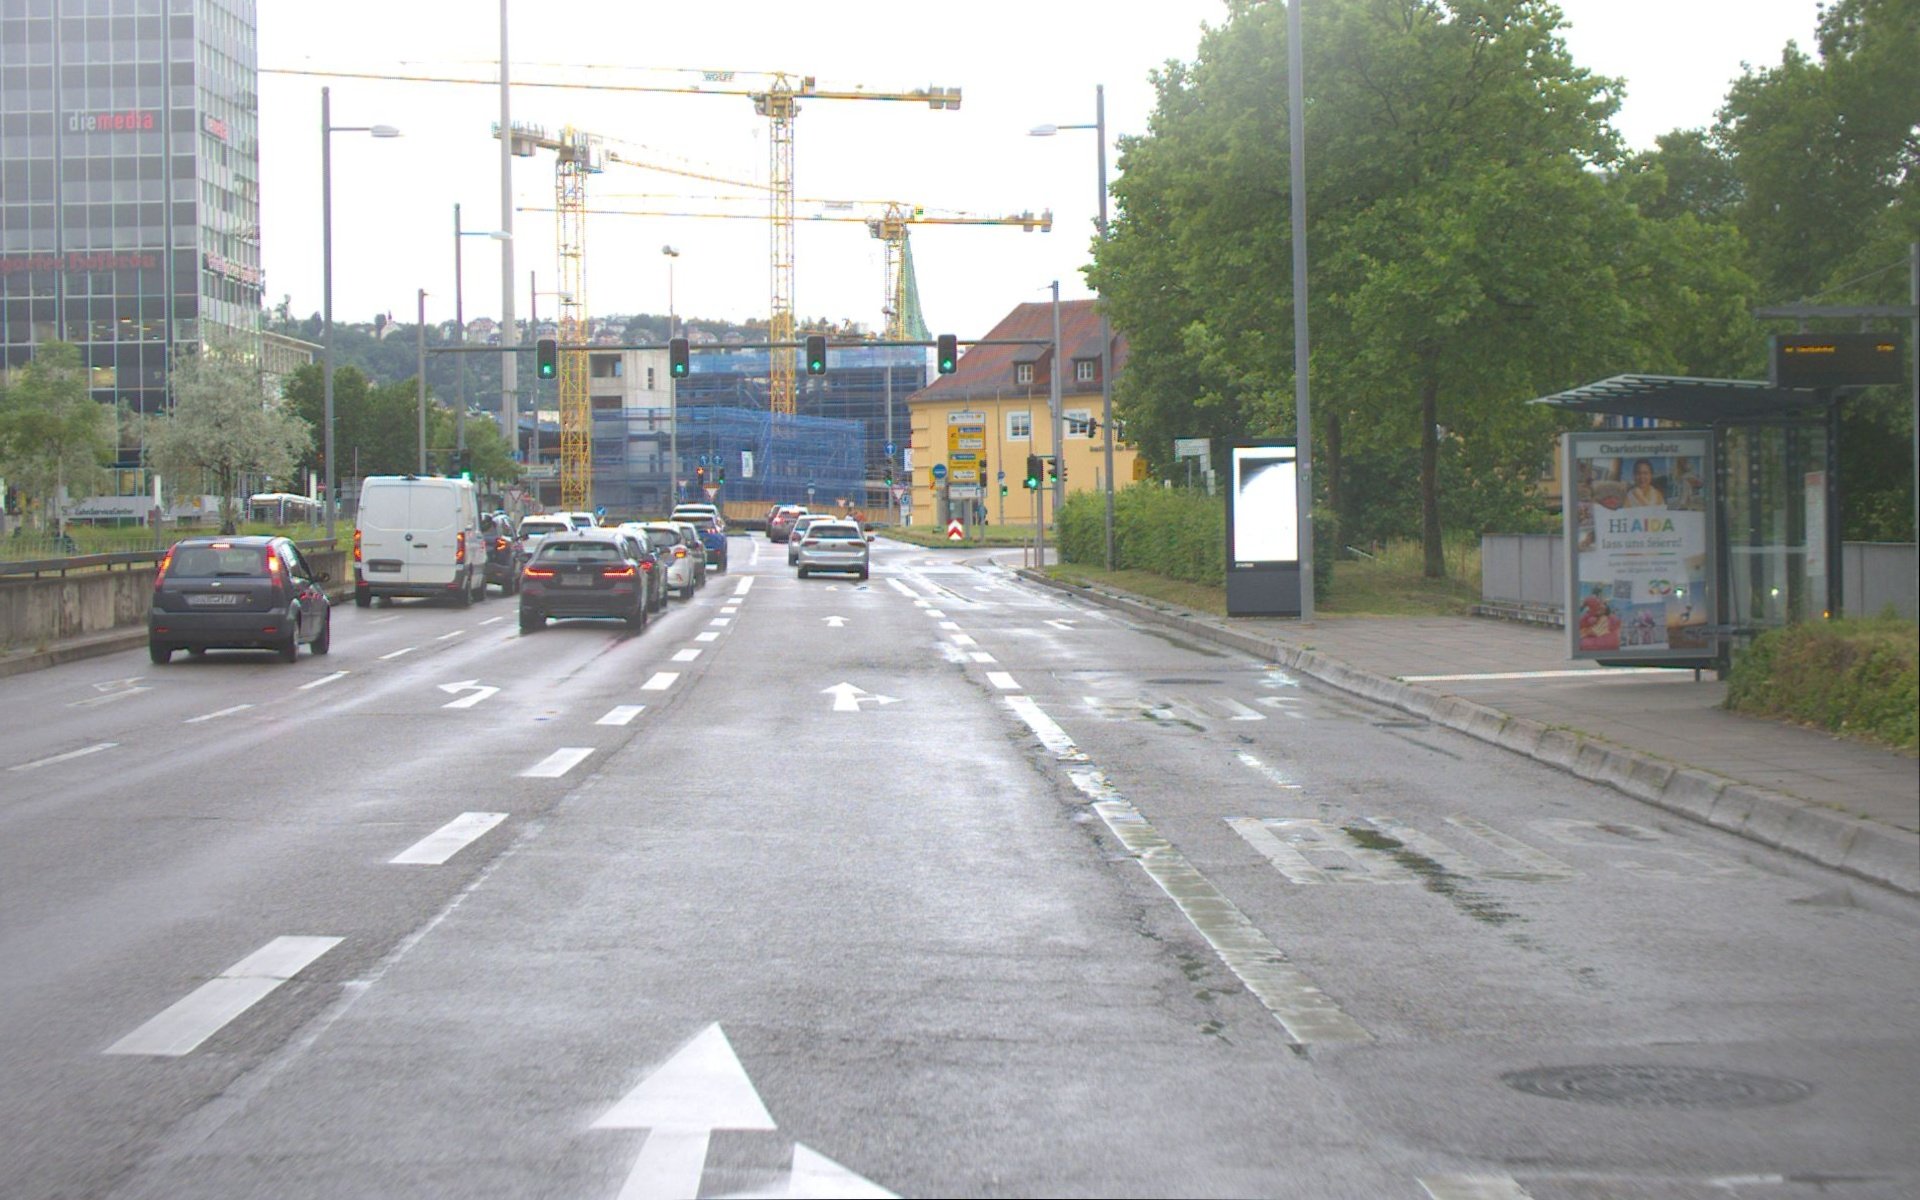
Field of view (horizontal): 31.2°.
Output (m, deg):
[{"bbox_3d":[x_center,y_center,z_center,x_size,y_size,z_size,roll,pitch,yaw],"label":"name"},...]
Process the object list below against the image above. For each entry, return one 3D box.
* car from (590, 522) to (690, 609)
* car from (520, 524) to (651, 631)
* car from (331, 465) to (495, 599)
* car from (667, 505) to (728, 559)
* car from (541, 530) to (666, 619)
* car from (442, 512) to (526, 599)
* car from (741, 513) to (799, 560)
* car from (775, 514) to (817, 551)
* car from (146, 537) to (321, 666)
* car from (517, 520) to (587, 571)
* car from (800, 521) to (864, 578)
[{"bbox_3d":[-6.300,-0.668,67.775,1.880,1.647,3.458,1,0,-5],"label":"car"},{"bbox_3d":[-5.585,-0.371,51.661,1.753,1.466,4.223,1,2,-4],"label":"car"},{"bbox_3d":[-9.875,-1.188,62.422,2.292,2.306,5.006,1,0,-2],"label":"car"},{"bbox_3d":[-6.943,-1.783,91.070,1.493,1.365,3.033,1,0,-3],"label":"car"},{"bbox_3d":[-6.190,-0.441,59.943,1.830,1.489,3.399,1,0,0],"label":"car"},{"bbox_3d":[-9.550,-0.879,69.099,1.464,1.700,3.142,1,0,-4],"label":"car"},{"bbox_3d":[-7.954,-2.645,144.039,2.161,1.873,3.770,1,0,1],"label":"car"},{"bbox_3d":[-4.722,-1.945,98.900,1.076,0.987,1.971,1,-1,1],"label":"car"},{"bbox_3d":[-8.407,0.007,40.009,1.542,1.410,3.902,1,0,-5],"label":"car"},{"bbox_3d":[-10.348,-1.374,87.282,1.551,1.256,2.580,1,0,-2],"label":"car"},{"bbox_3d":[-3.150,-1.235,84.698,1.444,1.354,2.412,1,0,1],"label":"car"}]
